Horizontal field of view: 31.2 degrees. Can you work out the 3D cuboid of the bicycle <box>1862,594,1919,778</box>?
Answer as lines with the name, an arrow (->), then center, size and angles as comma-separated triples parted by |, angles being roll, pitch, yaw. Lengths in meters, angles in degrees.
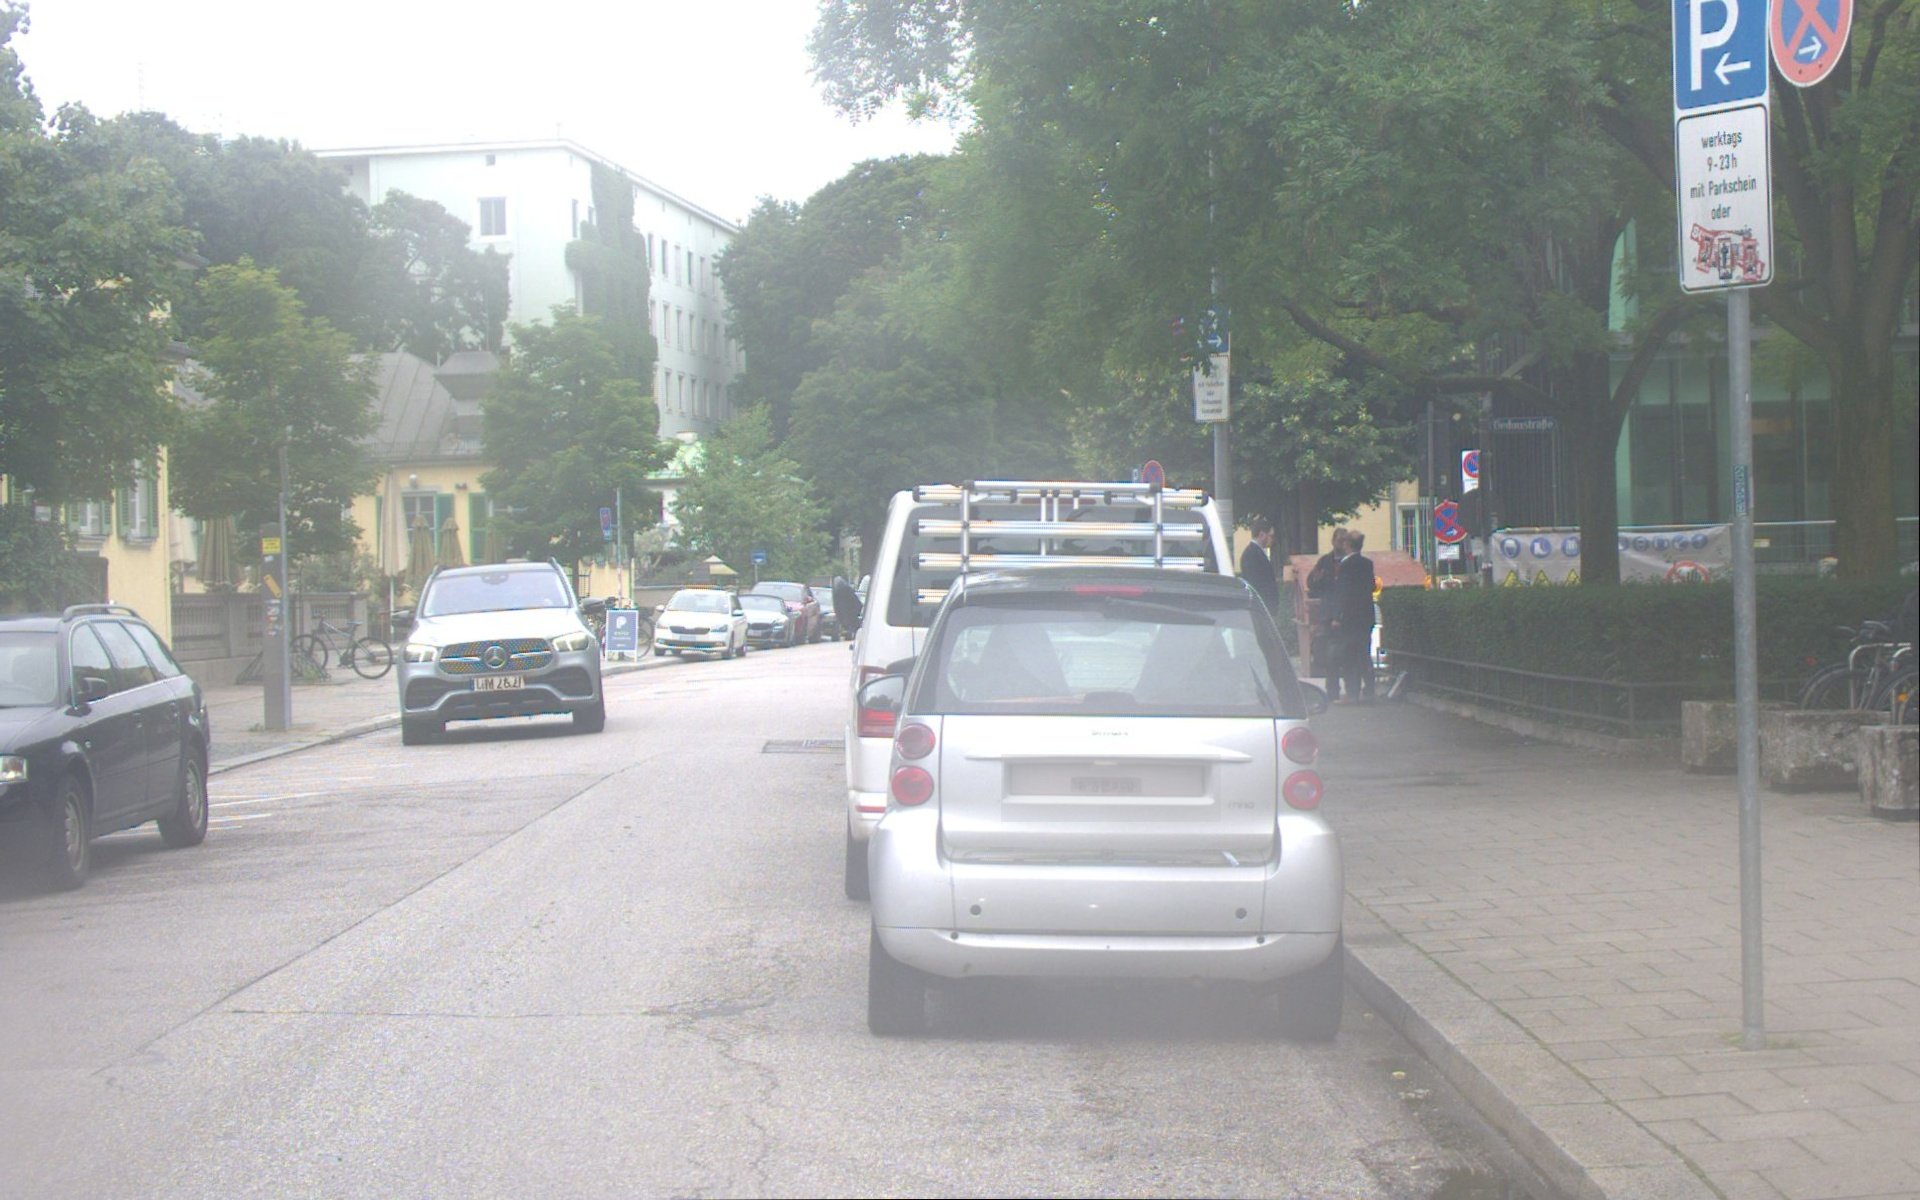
bicycle -> 6.637, 0.491, 21.284 | 1.931, 1.110, 0.471 | -3, 0, 2

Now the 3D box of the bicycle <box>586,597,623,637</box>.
bicycle -> -9.000, 0.431, 87.017 | 0.621, 1.001, 1.618 | -1, -1, 6

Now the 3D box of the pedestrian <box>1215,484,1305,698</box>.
pedestrian -> 3.063, -0.094, 35.208 | 0.742, 2.127, 1.056 | -2, 0, -1

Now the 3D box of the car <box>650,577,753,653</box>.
car -> -5.635, 0.310, 75.271 | 1.734, 1.576, 3.787 | 2, 0, 3

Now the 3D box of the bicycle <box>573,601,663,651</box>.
bicycle -> -7.031, 0.530, 70.769 | 0.623, 1.001, 2.136 | 2, 1, 33

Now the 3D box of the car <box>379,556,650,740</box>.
car -> -4.456, 0.432, 35.078 | 2.025, 1.683, 4.677 | -2, 1, 1

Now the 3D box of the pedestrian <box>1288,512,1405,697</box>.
pedestrian -> 4.072, 0.043, 36.220 | 0.744, 1.901, 1.054 | -2, 0, 35

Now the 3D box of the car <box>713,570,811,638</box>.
car -> -5.029, 0.086, 87.857 | 1.994, 1.643, 4.655 | -1, 0, 3

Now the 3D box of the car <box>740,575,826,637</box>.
car -> -4.757, 0.179, 92.938 | 1.993, 1.597, 4.000 | -1, 0, 1

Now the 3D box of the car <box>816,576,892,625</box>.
car -> -3.393, 0.015, 110.781 | 1.994, 1.481, 3.999 | -1, 1, 4

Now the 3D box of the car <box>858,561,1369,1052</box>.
car -> 0.486, 0.643, 12.395 | 1.605, 1.541, 2.934 | 1, 0, 0

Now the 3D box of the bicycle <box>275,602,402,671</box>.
bicycle -> -10.106, 0.588, 55.896 | 1.931, 1.095, 0.615 | 1, 0, 3

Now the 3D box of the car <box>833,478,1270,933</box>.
car -> 0.335, 0.436, 17.495 | 1.845, 1.926, 5.273 | 1, 0, -1

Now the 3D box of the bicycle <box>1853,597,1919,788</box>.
bicycle -> 6.373, 0.512, 20.494 | 1.931, 1.110, 0.471 | -3, 0, 2

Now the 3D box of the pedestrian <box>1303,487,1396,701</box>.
pedestrian -> 3.958, -0.064, 35.008 | 0.742, 2.127, 1.056 | -2, 0, -1

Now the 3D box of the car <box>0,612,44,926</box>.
car -> -5.333, 0.826, 14.069 | 1.922, 1.434, 4.918 | -3, 0, -2

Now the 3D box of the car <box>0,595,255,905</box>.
car -> -5.527, 0.777, 19.332 | 1.993, 1.485, 4.883 | -3, 0, 1
